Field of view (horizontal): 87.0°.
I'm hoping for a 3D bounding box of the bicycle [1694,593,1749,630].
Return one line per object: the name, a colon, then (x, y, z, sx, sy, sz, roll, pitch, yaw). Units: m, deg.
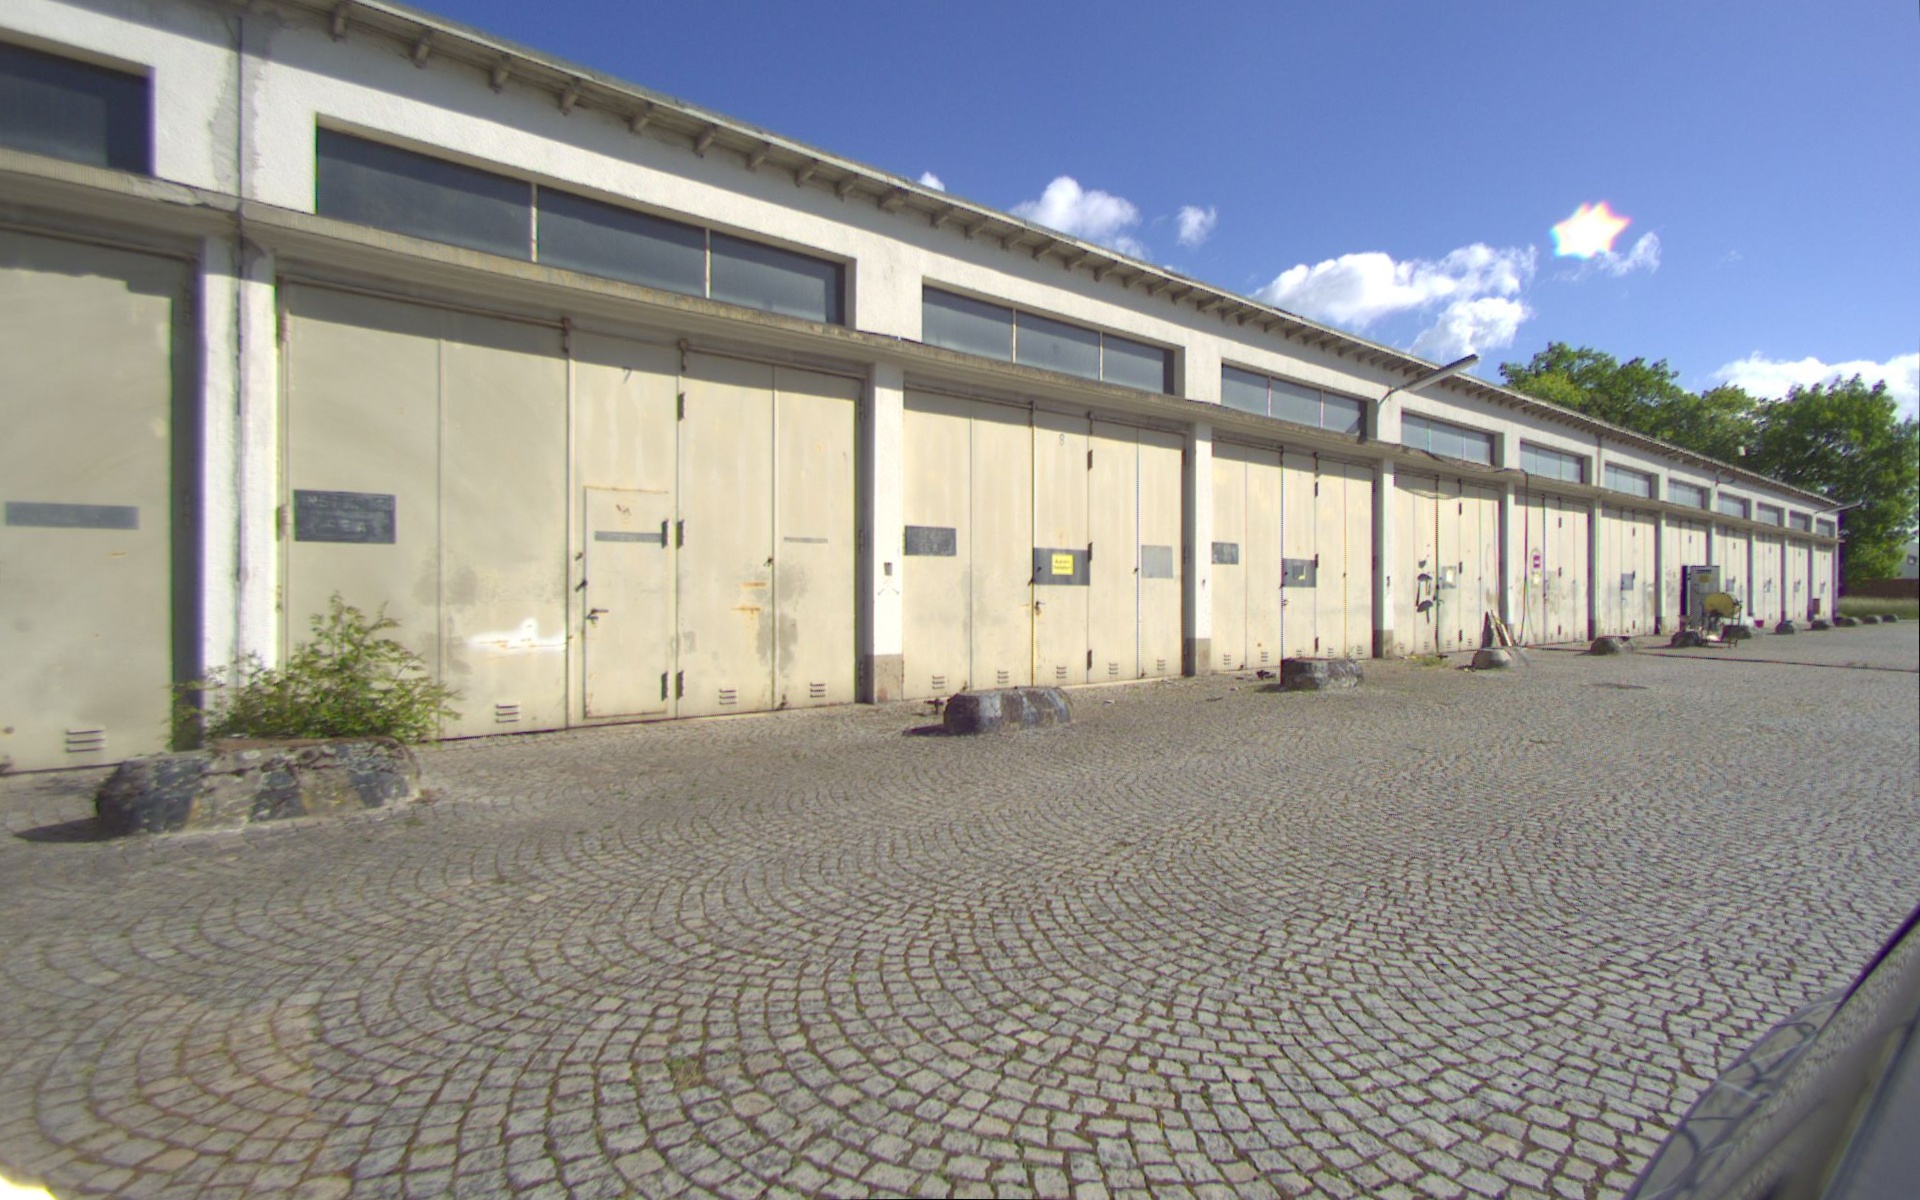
bicycle: (23.497, 0.341, 31.228, 1.787, 1.081, 0.667, -1, 0, -29)
